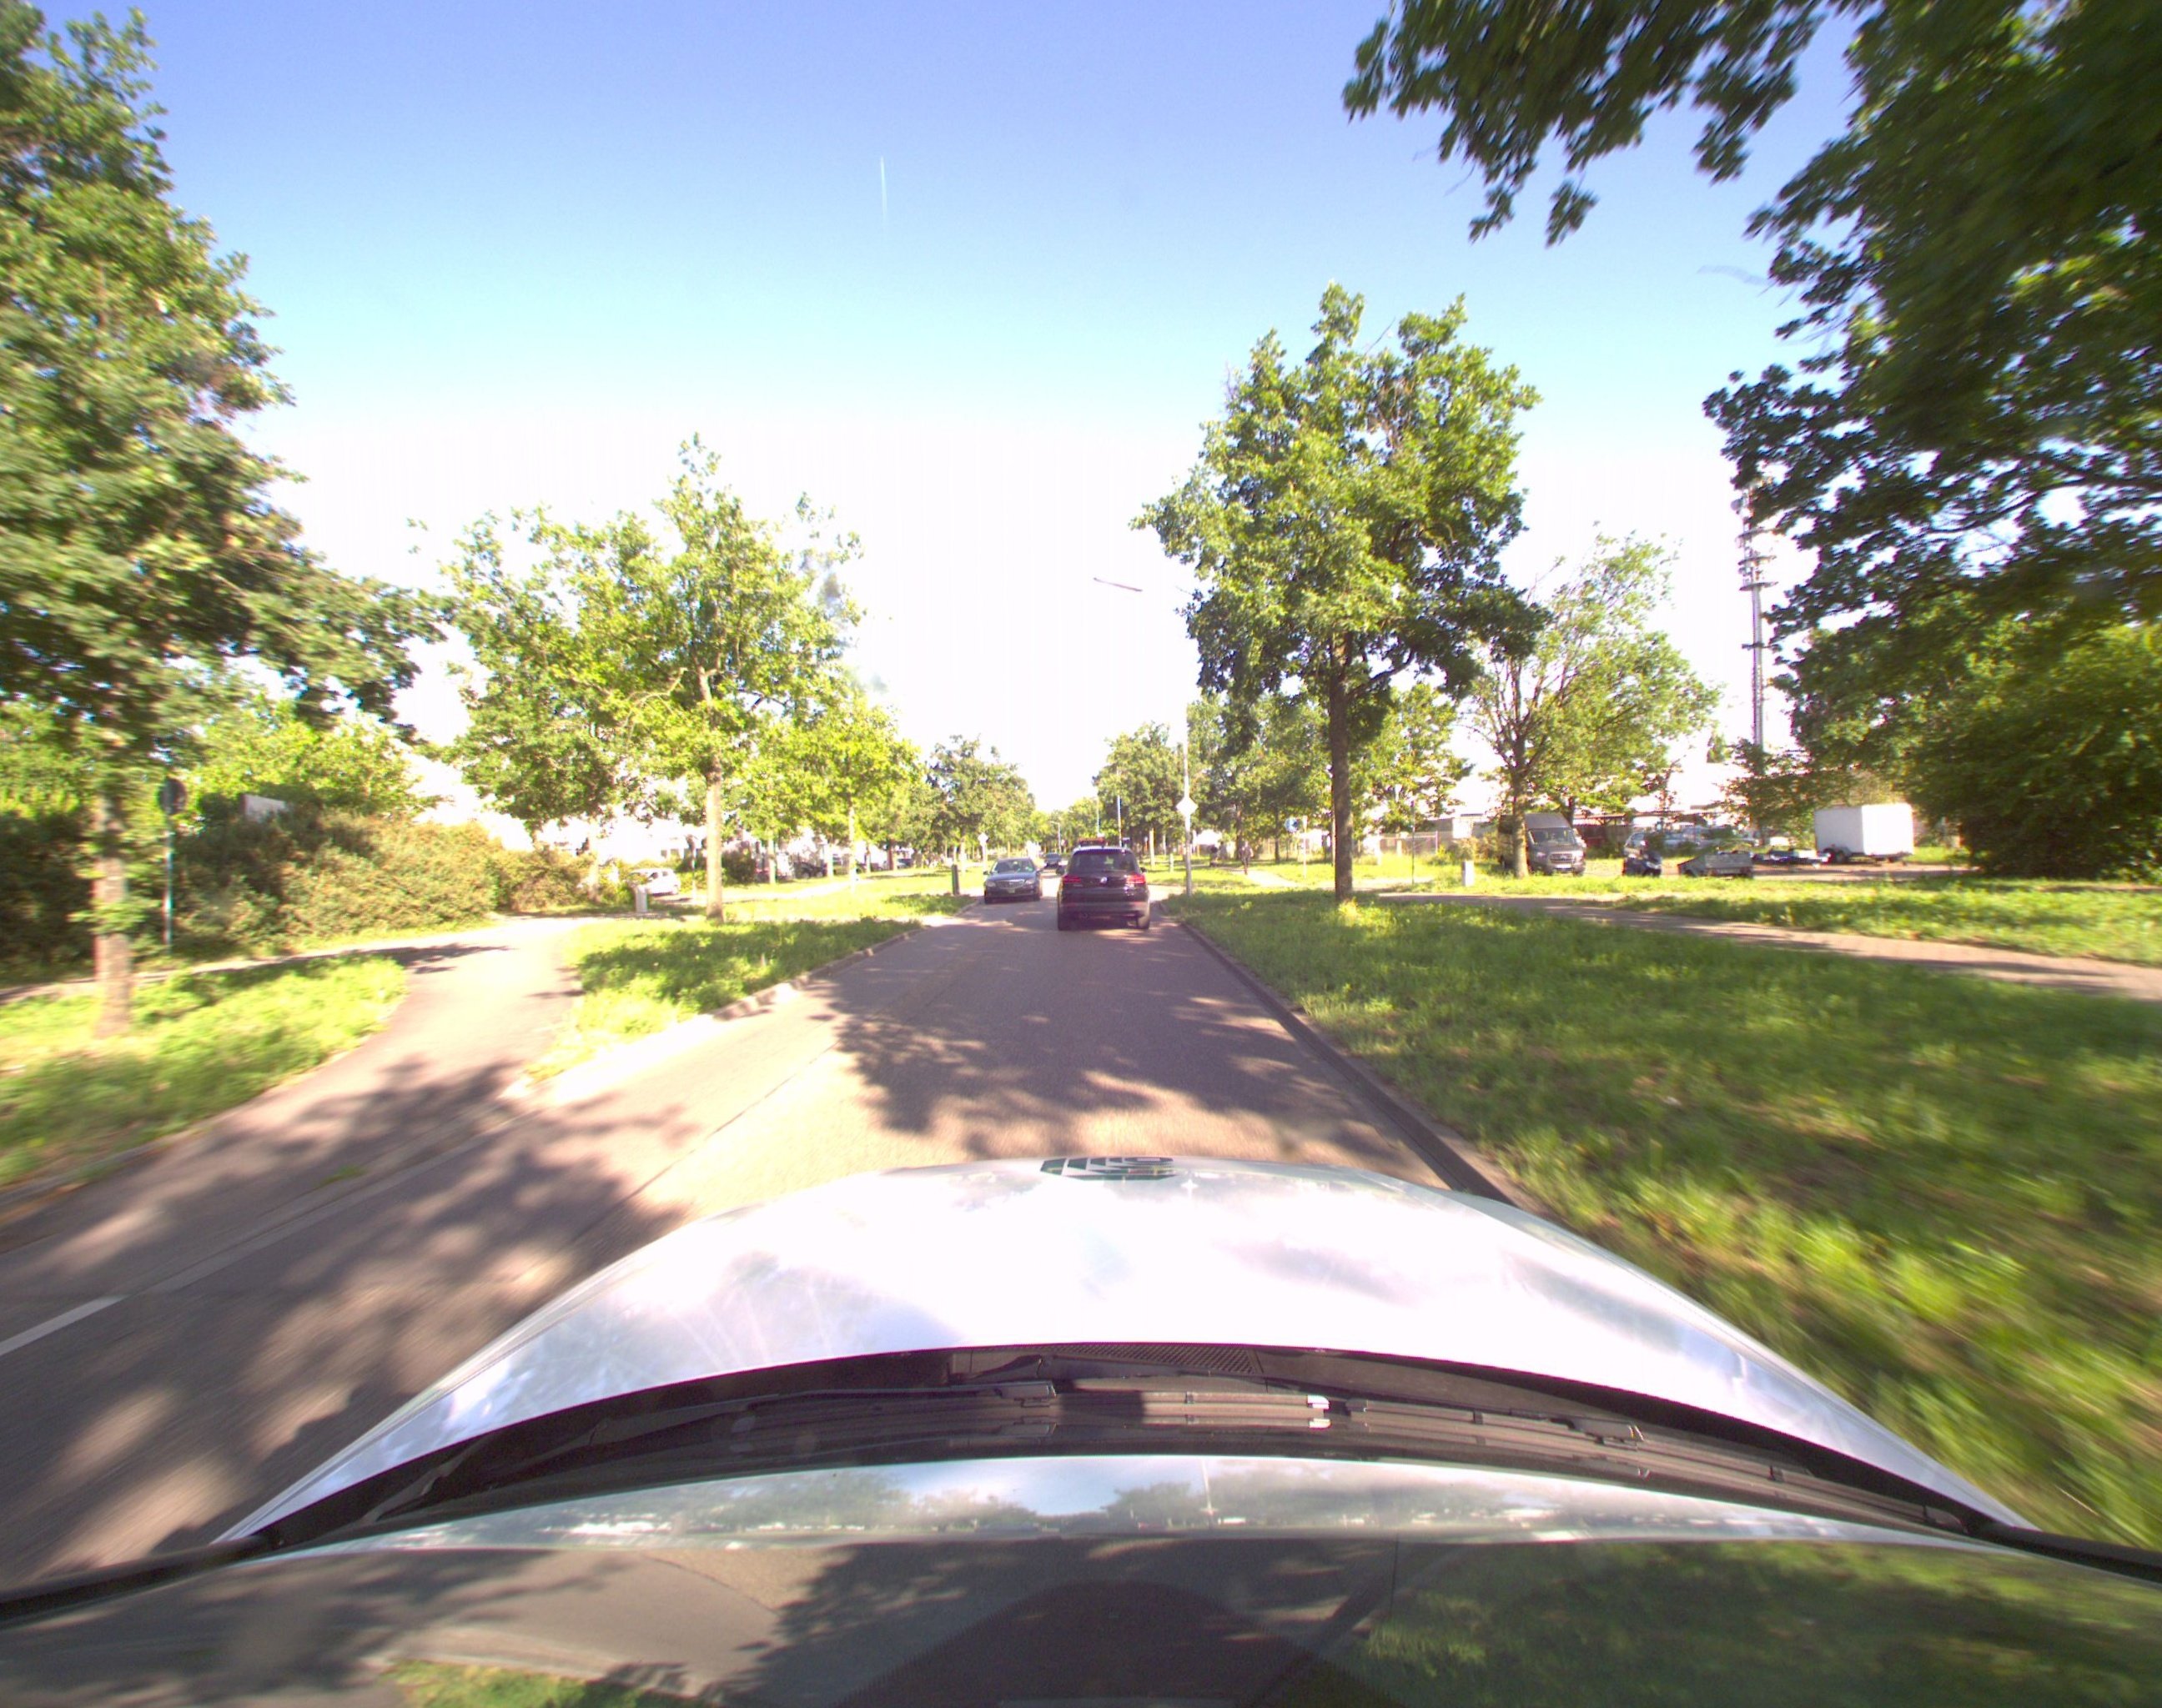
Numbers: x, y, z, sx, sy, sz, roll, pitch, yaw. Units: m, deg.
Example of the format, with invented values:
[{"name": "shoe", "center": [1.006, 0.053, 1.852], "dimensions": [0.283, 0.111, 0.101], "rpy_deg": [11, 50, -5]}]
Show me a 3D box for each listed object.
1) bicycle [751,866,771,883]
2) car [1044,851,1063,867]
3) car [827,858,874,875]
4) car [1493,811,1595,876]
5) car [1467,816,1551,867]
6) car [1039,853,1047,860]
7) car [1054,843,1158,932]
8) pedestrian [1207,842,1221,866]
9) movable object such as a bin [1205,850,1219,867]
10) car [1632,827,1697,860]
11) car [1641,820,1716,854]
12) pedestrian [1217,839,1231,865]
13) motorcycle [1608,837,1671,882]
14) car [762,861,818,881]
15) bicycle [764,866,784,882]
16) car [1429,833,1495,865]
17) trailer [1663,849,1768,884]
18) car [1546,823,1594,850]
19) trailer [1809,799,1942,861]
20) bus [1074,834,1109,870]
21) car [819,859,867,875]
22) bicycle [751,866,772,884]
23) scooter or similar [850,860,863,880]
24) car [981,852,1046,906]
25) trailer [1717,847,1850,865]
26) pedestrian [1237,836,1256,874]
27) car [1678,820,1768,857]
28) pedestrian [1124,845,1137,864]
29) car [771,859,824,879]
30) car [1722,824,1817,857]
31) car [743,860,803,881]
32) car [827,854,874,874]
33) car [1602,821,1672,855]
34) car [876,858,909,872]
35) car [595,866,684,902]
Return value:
[{"name": "bicycle", "center": [-22.337, 1.432, 56.859], "dimensions": [0.637, 1.087, 1.891], "rpy_deg": [-2, 0, 0]}, {"name": "car", "center": [-2.845, 0.518, 85.273], "dimensions": [1.799, 1.536, 4.493], "rpy_deg": [-3, 1, -2]}, {"name": "car", "center": [-23.467, 1.225, 82.982], "dimensions": [4.193, 1.538, 1.873], "rpy_deg": [-2, 0, -42]}, {"name": "car", "center": [19.838, -0.565, 35.239], "dimensions": [2.070, 2.565, 5.993], "rpy_deg": [0, 3, 12]}, {"name": "car", "center": [24.154, -0.698, 46.205], "dimensions": [2.153, 2.643, 4.850], "rpy_deg": [-2, 0, 0]}, {"name": "car", "center": [-9.264, 0.585, 198.249], "dimensions": [1.738, 1.464, 4.427], "rpy_deg": [-3, 1, 0]}, {"name": "car", "center": [0.467, 0.597, 17.482], "dimensions": [1.930, 1.656, 4.426], "rpy_deg": [-1, 1, 0]}, {"name": "pedestrian", "center": [9.105, -0.018, 55.707], "dimensions": [0.723, 1.603, 0.867], "rpy_deg": [-2, 0, -1]}, {"name": "movable object such as a bin", "center": [9.088, 0.304, 56.588], "dimensions": [0.723, 1.081, 0.867], "rpy_deg": [-4, 0, -1]}, {"name": "car", "center": [31.336, -0.566, 43.847], "dimensions": [1.819, 1.640, 4.021], "rpy_deg": [-2, 0, 21]}, {"name": "car", "center": [39.228, -1.183, 53.643], "dimensions": [2.070, 2.061, 5.031], "rpy_deg": [0, 3, 12]}, {"name": "pedestrian", "center": [9.984, -0.138, 56.852], "dimensions": [0.723, 1.755, 0.867], "rpy_deg": [-4, 0, 0]}, {"name": "motorcycle", "center": [17.050, 0.210, 24.944], "dimensions": [0.658, 1.231, 2.413], "rpy_deg": [-2, -4, 12]}, {"name": "car", "center": [-24.107, 1.407, 67.549], "dimensions": [4.023, 1.448, 1.779], "rpy_deg": [-2, 0, -43]}, {"name": "bicycle", "center": [-21.345, 1.382, 56.567], "dimensions": [0.637, 1.087, 1.891], "rpy_deg": [-2, 0, 0]}, {"name": "car", "center": [21.577, -0.290, 46.261], "dimensions": [1.999, 1.664, 3.596], "rpy_deg": [-2, 0, 0]}, {"name": "trailer", "center": [17.848, 0.380, 23.002], "dimensions": [1.568, 0.868, 2.060], "rpy_deg": [-2, -4, 12]}, {"name": "car", "center": [32.470, -1.145, 54.154], "dimensions": [1.820, 1.640, 4.018], "rpy_deg": [-2, 0, 17]}, {"name": "trailer", "center": [32.375, -0.956, 33.355], "dimensions": [2.174, 2.307, 3.802], "rpy_deg": [-2, 0, 12]}, {"name": "bus", "center": [0.986, -0.218, 85.588], "dimensions": [2.758, 3.456, 11.197], "rpy_deg": [-2, 0, -3]}, {"name": "car", "center": [-23.305, 1.274, 79.780], "dimensions": [3.975, 1.401, 1.976], "rpy_deg": [-2, 0, -42]}, {"name": "bicycle", "center": [-21.653, 1.412, 55.155], "dimensions": [0.637, 1.087, 1.891], "rpy_deg": [-2, 0, 0]}, {"name": "scooter or similar", "center": [-14.989, 1.062, 54.474], "dimensions": [0.393, 1.279, 1.441], "rpy_deg": [-2, 0, 1]}, {"name": "car", "center": [-2.177, 0.764, 27.401], "dimensions": [1.760, 1.528, 4.494], "rpy_deg": [-3, 1, 0]}, {"name": "trailer", "center": [29.420, 0.061, 34.341], "dimensions": [2.213, 0.651, 4.839], "rpy_deg": [-2, 0, 12]}, {"name": "pedestrian", "center": [8.218, 0.060, 40.433], "dimensions": [0.723, 1.812, 0.867], "rpy_deg": [-2, 2, -1]}, {"name": "car", "center": [34.390, -0.817, 43.778], "dimensions": [1.982, 1.823, 4.009], "rpy_deg": [-2, 0, 8]}, {"name": "pedestrian", "center": [4.443, 0.076, 73.120], "dimensions": [1.016, 1.651, 1.099], "rpy_deg": [-2, 0, -1]}, {"name": "car", "center": [-24.546, 1.247, 70.490], "dimensions": [4.012, 1.511, 1.784], "rpy_deg": [-2, 1, -30]}, {"name": "car", "center": [36.628, -0.715, 43.473], "dimensions": [1.982, 1.592, 4.009], "rpy_deg": [-2, 0, 8]}, {"name": "car", "center": [-24.137, 1.317, 63.906], "dimensions": [1.778, 1.448, 4.025], "rpy_deg": [-2, 0, 42]}, {"name": "car", "center": [-26.698, 1.156, 94.372], "dimensions": [4.886, 2.013, 1.976], "rpy_deg": [-2, 0, -42]}, {"name": "car", "center": [36.855, -1.132, 54.120], "dimensions": [2.070, 2.061, 5.031], "rpy_deg": [0, 3, 12]}, {"name": "car", "center": [-24.421, 1.424, 105.579], "dimensions": [3.715, 1.618, 1.971], "rpy_deg": [-2, 0, 14]}, {"name": "car", "center": [-23.318, 1.545, 43.185], "dimensions": [1.980, 1.504, 3.931], "rpy_deg": [-2, 3, 11]}]
